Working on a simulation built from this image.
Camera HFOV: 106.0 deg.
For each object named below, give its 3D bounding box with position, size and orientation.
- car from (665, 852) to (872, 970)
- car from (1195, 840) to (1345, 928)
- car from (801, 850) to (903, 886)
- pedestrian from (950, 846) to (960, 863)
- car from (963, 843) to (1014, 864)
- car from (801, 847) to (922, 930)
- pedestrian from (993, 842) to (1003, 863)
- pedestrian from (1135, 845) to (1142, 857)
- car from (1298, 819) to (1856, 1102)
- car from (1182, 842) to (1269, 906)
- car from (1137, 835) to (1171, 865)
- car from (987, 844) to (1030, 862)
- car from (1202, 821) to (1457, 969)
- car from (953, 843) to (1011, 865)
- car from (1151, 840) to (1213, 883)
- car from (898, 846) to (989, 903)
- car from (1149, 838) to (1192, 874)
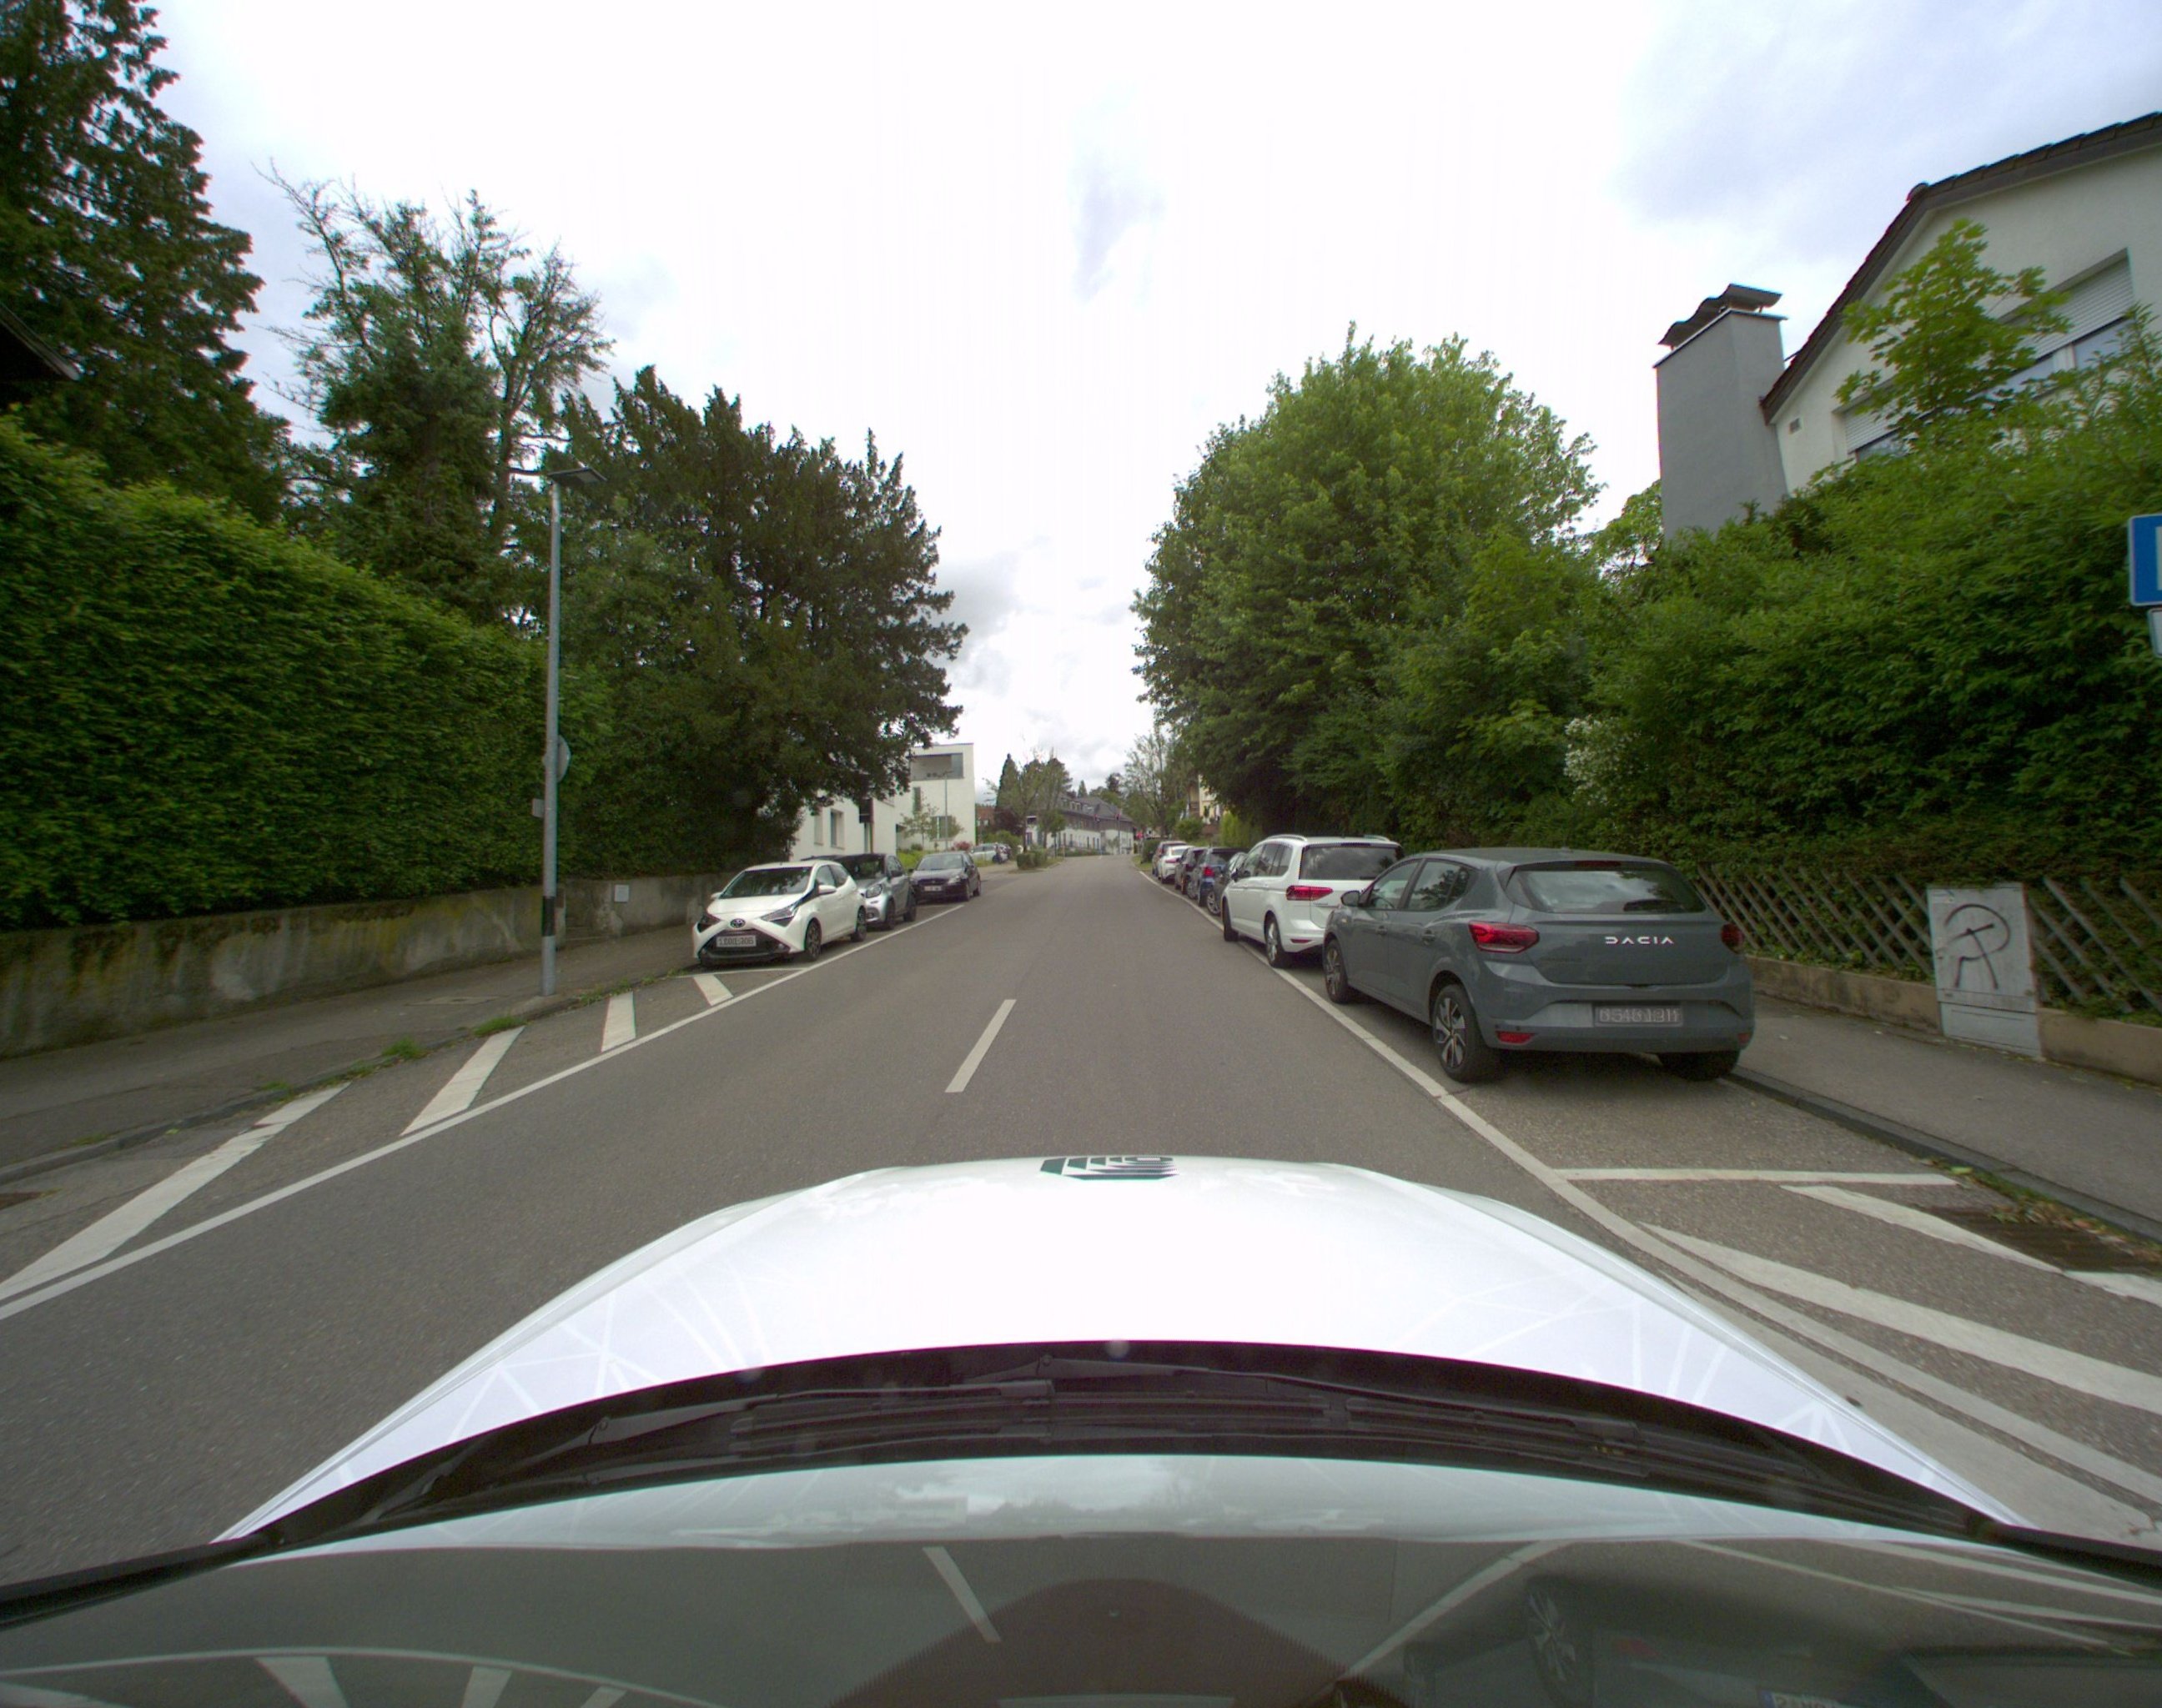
[{"bbox_3d":[-4.659,0.767,12.727,1.738,1.448,3.514,-4,0,1],"label":"car"},{"bbox_3d":[3.597,0.511,16.368,1.805,1.452,4.375,-2,0,-2],"label":"car"},{"bbox_3d":[-9.540,0.575,34.130,3.787,1.354,1.739,-2,0,-4],"label":"car"},{"bbox_3d":[-9.931,0.030,64.061,0.604,1.283,0.900,0,0,2],"label":"pedestrian"},{"bbox_3d":[-7.824,-0.054,68.906,3.971,1.653,2.010,-1,0,2],"label":"car"},{"bbox_3d":[-4.440,0.642,16.905,1.618,1.519,2.976,-2,0,1],"label":"car"},{"bbox_3d":[-6.569,-0.137,64.501,0.591,1.640,0.566,-2,0,3],"label":"pedestrian"},{"bbox_3d":[8.199,-0.495,116.881,0.677,1.682,0.705,-2,0,33],"label":"pedestrian"},{"bbox_3d":[3.351,0.562,6.752,1.931,1.491,4.457,-2,1,1],"label":"car"},{"bbox_3d":[3.682,0.440,21.344,1.691,1.508,4.162,0,1,2],"label":"car"},{"bbox_3d":[4.842,-0.298,54.730,1.928,1.837,5.222,-2,1,2],"label":"car"},{"bbox_3d":[-7.563,-0.074,85.158,4.248,1.623,2.013,-3,-1,-1],"label":"car"},{"bbox_3d":[3.209,0.435,11.702,1.996,1.608,4.754,-2,1,-3],"label":"car"},{"bbox_3d":[-8.059,-0.024,66.316,4.372,1.566,2.066,-2,1,0],"label":"car"},{"bbox_3d":[3.896,0.231,32.126,1.985,1.491,5.008,-2,1,3],"label":"car"},{"bbox_3d":[-4.052,0.542,24.727,1.844,1.469,4.683,-2,1,1],"label":"car"},{"bbox_3d":[4.166,0.080,38.371,1.710,1.632,3.931,0,0,2],"label":"car"}]
